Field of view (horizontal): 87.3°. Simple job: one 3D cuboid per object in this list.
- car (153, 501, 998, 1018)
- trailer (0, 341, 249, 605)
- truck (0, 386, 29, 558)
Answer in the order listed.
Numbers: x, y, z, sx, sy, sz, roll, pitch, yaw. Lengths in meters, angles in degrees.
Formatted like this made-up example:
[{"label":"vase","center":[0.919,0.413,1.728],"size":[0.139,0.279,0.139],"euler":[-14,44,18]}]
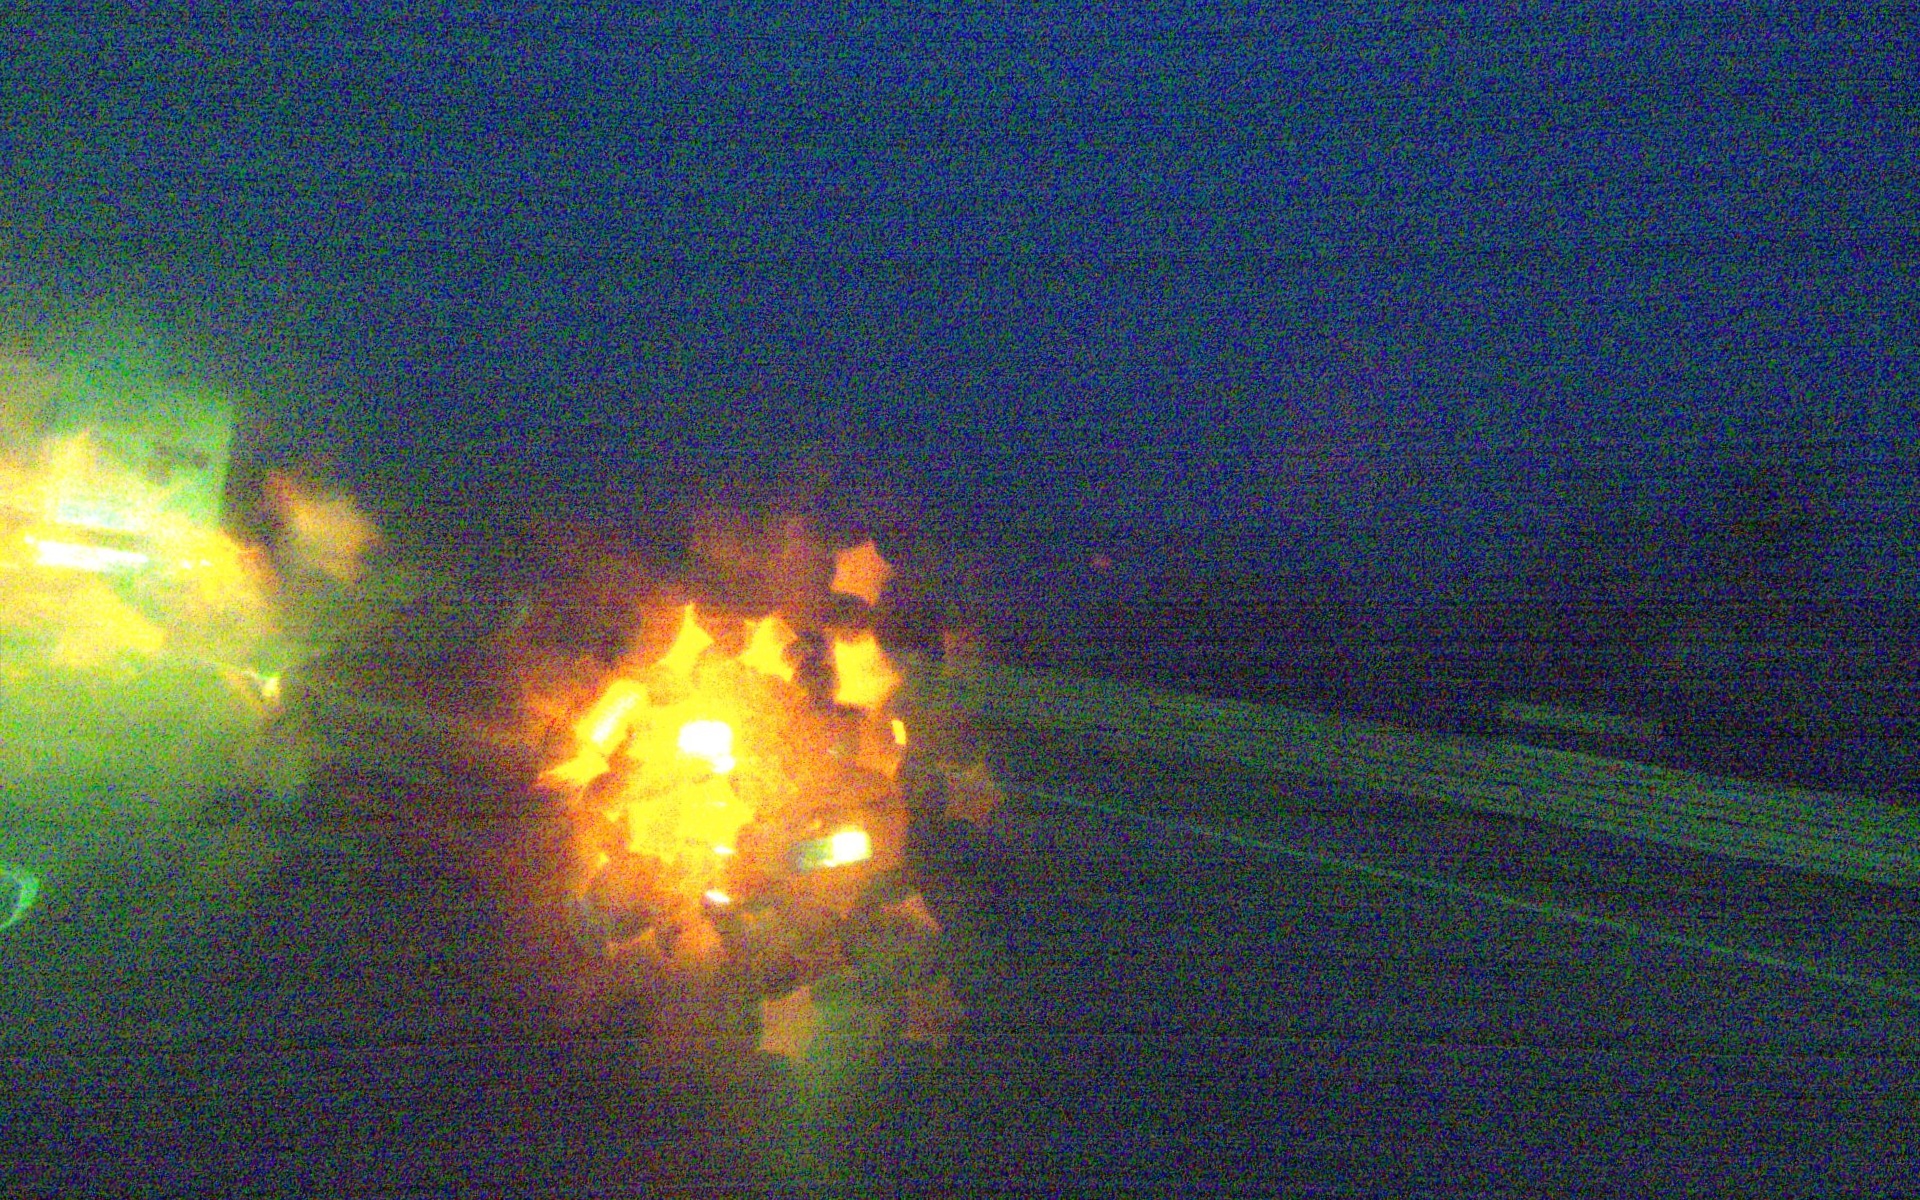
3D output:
[{"label":"car","center":[-2.217,0.510,5.362],"size":[4.419,1.594,1.743],"euler":[6,-1,31]},{"label":"trailer","center":[-20.368,-2.793,21.459],"size":[14.246,4.161,2.906],"euler":[7,1,32]},{"label":"truck","center":[-26.554,-3.500,25.292],"size":[5.930,4.161,2.906],"euler":[7,1,32]}]
